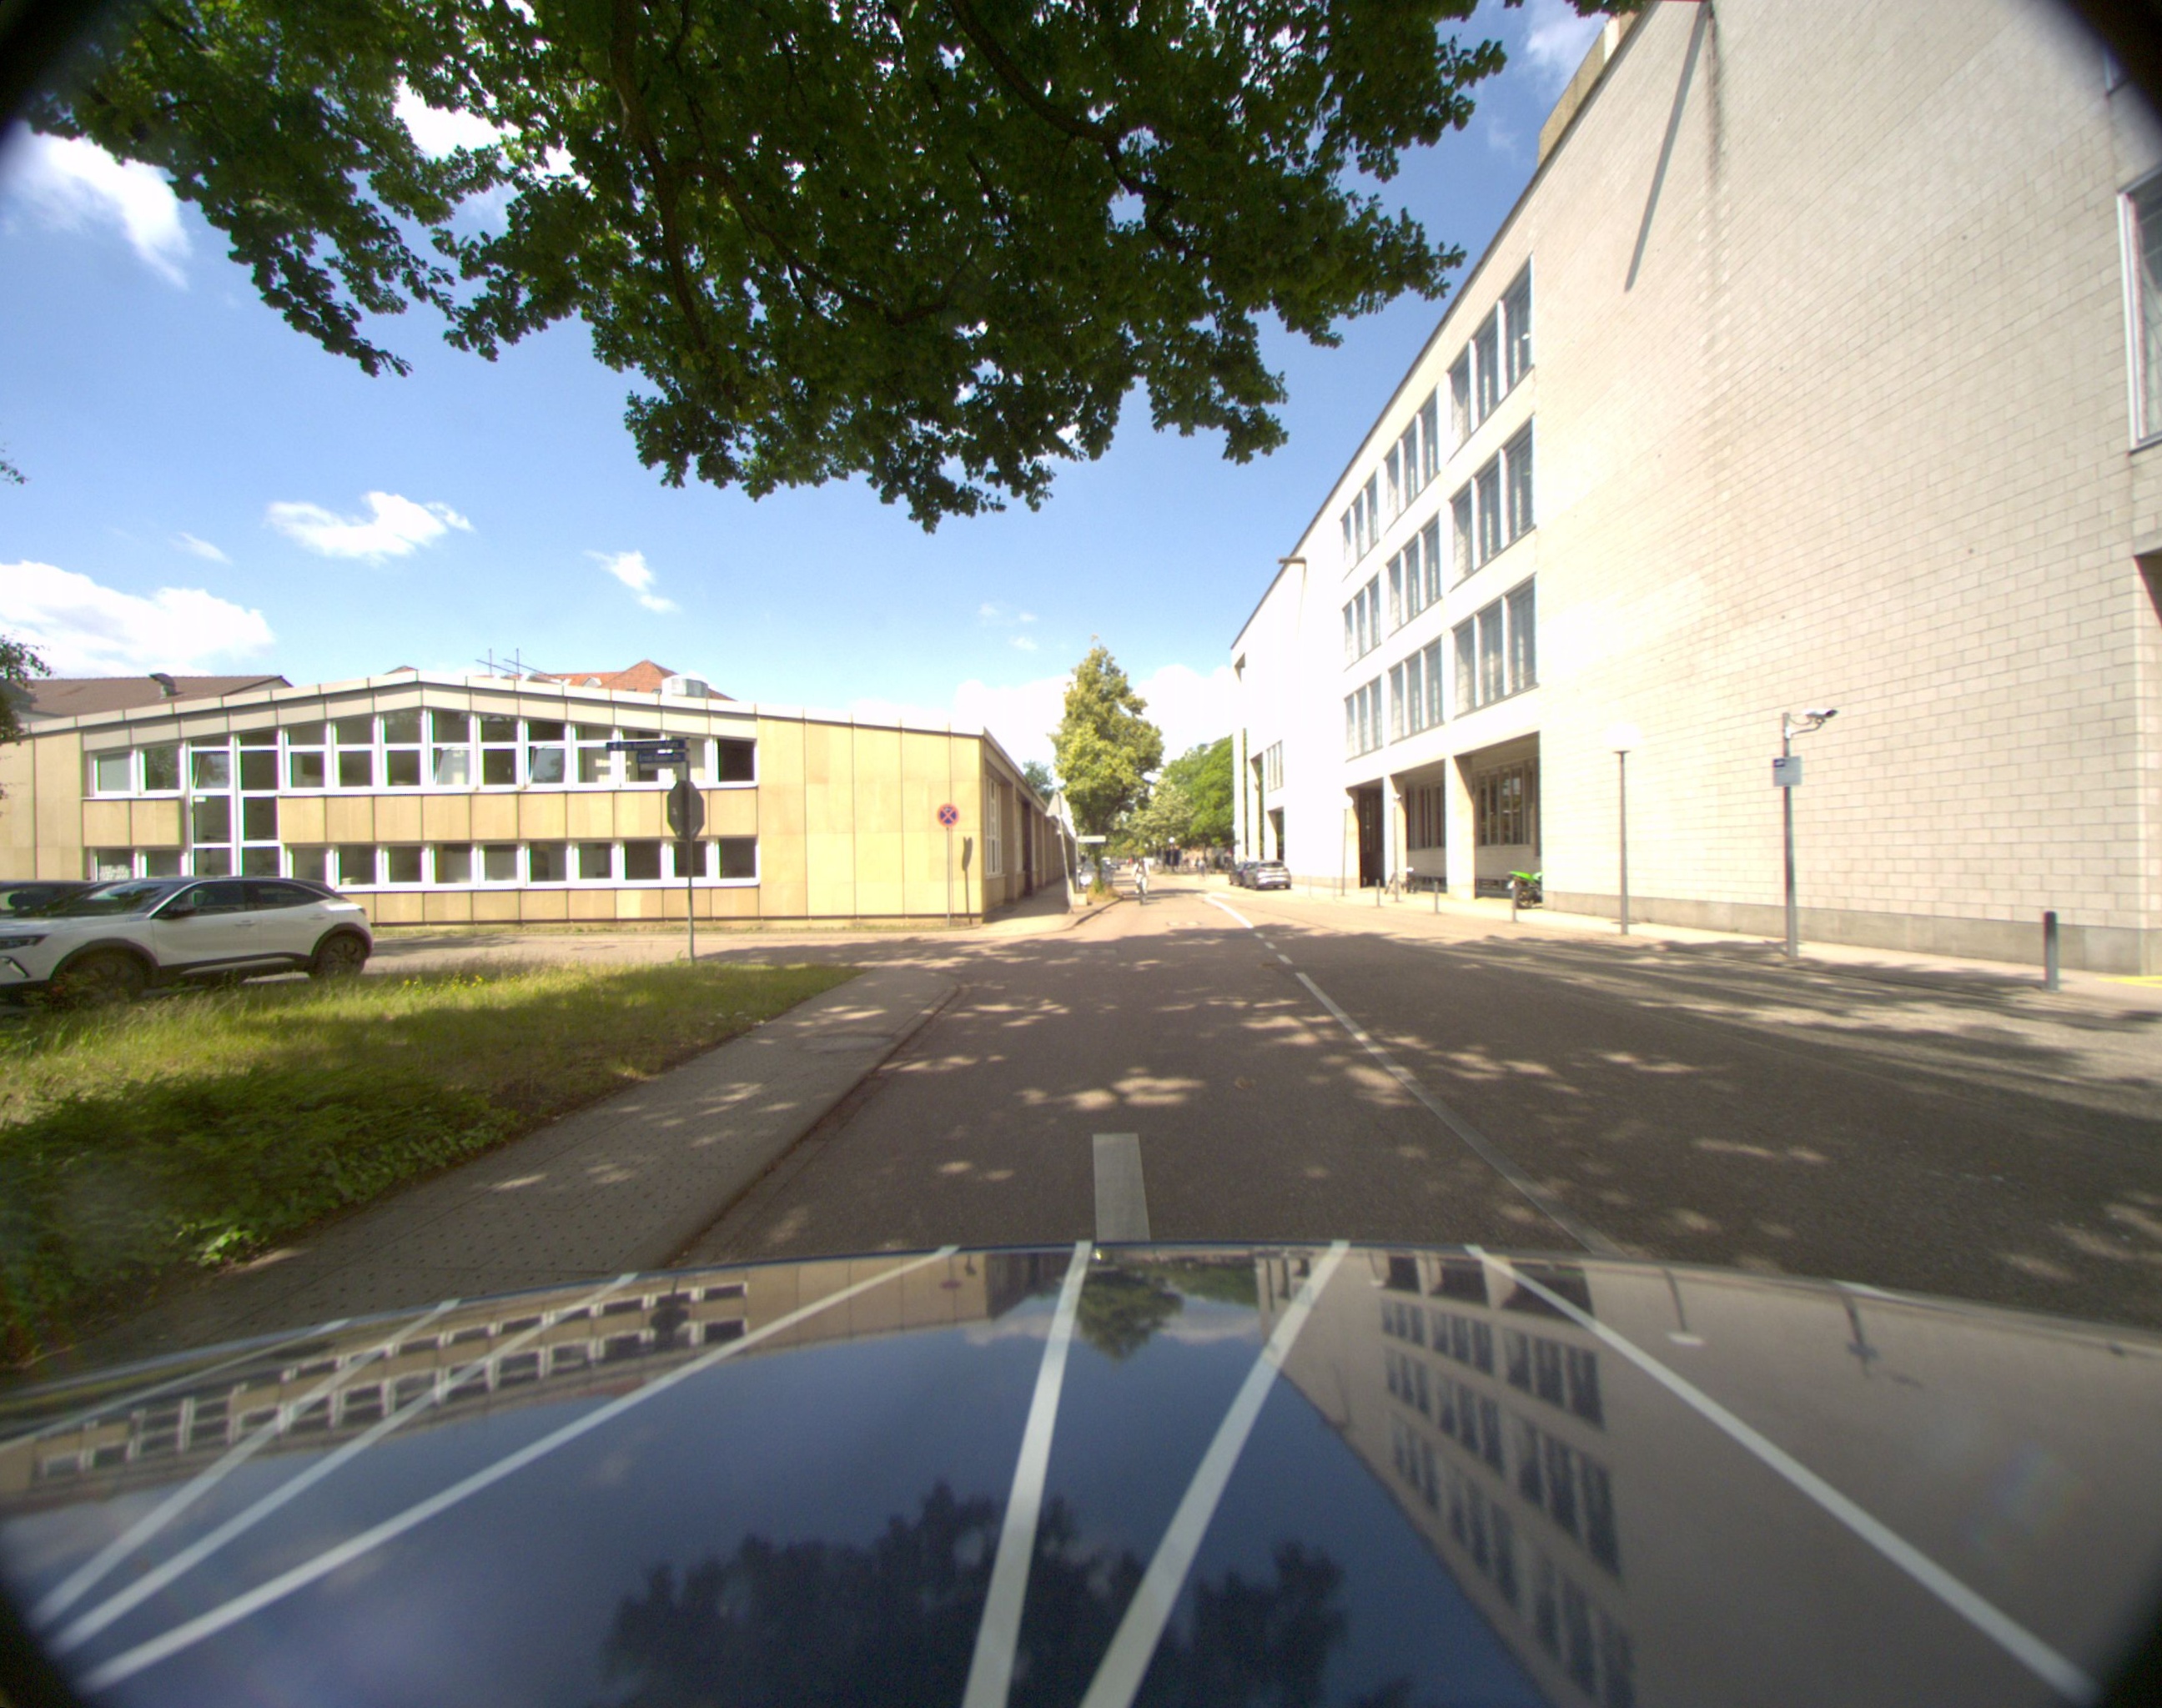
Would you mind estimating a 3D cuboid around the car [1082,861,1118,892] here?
[{"bbox_3d":[0.963,1.132,39.693,1.760,1.559,3.817,0,0,1],"label":"car"}]

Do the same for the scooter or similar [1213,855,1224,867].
[{"bbox_3d":[13.978,0.693,77.065,0.713,1.184,1.617,-1,1,23],"label":"scooter or similar"}]

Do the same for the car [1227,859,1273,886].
[{"bbox_3d":[9.790,1.036,44.310,1.730,1.414,4.665,-1,0,1],"label":"car"}]

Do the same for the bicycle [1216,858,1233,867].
[{"bbox_3d":[18.081,1.014,95.639,2.127,1.052,0.681,-2,1,-28],"label":"bicycle"}]

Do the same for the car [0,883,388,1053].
[{"bbox_3d":[-11.024,1.161,9.025,1.671,1.468,4.182,-1,0,1],"label":"car"}]

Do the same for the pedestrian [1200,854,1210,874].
[{"bbox_3d":[11.386,0.897,69.962,0.760,1.715,1.236,-4,1,12],"label":"pedestrian"}]

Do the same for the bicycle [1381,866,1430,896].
[{"bbox_3d":[12.627,1.035,29.596,1.643,1.080,0.608,-2,0,-4],"label":"bicycle"}]

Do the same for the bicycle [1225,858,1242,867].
[{"bbox_3d":[18.894,0.995,94.141,2.127,1.052,0.681,-2,1,-28],"label":"bicycle"}]

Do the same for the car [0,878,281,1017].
[{"bbox_3d":[-13.814,1.173,10.209,1.829,1.569,4.000,-1,0,2],"label":"car"}]

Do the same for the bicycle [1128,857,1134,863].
[{"bbox_3d":[9.668,1.221,148.069,1.011,1.169,3.394,-2,0,2],"label":"bicycle"}]

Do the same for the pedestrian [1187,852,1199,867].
[{"bbox_3d":[14.989,0.774,101.872,1.400,2.002,1.369,-2,0,1],"label":"pedestrian"}]

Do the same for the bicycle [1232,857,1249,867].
[{"bbox_3d":[19.451,0.958,92.622,2.127,1.100,0.681,-2,1,-28],"label":"bicycle"}]

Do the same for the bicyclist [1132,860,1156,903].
[{"bbox_3d":[2.235,0.974,27.198,0.781,1.478,0.695,-1,0,-1],"label":"bicyclist"}]

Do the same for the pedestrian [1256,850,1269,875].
[{"bbox_3d":[14.922,0.693,62.537,0.755,2.002,1.081,-2,0,1],"label":"pedestrian"}]

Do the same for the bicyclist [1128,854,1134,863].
[{"bbox_3d":[9.654,0.790,148.054,1.053,1.690,1.282,-2,1,1],"label":"bicyclist"}]

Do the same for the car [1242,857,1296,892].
[{"bbox_3d":[9.560,0.996,38.977,1.730,1.526,4.405,-3,1,1],"label":"car"}]

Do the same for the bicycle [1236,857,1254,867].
[{"bbox_3d":[19.808,0.921,91.953,2.127,1.151,0.751,-2,1,-28],"label":"bicycle"}]

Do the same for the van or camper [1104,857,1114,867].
[{"bbox_3d":[6.808,1.929,183.622,1.997,2.347,4.385,-1,0,7],"label":"van or camper"}]

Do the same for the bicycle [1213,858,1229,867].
[{"bbox_3d":[17.750,1.022,96.250,2.127,1.052,0.621,-2,1,-28],"label":"bicycle"}]

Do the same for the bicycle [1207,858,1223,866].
[{"bbox_3d":[17.218,1.035,97.527,2.127,1.052,0.621,-2,1,-28],"label":"bicycle"}]

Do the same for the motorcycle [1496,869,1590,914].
[{"bbox_3d":[12.401,0.999,20.417,2.173,1.131,0.774,-1,0,-9],"label":"motorcycle"}]

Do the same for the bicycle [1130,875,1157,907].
[{"bbox_3d":[2.241,1.311,27.326,0.781,1.042,1.913,-1,0,-1],"label":"bicycle"}]

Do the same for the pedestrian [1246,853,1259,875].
[{"bbox_3d":[14.114,0.844,62.544,0.755,1.770,1.081,-2,0,1],"label":"pedestrian"}]

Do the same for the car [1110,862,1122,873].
[{"bbox_3d":[5.992,2.249,130.155,1.998,1.805,4.001,-1,0,2],"label":"car"}]

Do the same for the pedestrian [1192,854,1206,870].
[{"bbox_3d":[13.660,0.901,87.870,1.400,1.813,1.369,-2,0,1],"label":"pedestrian"}]
